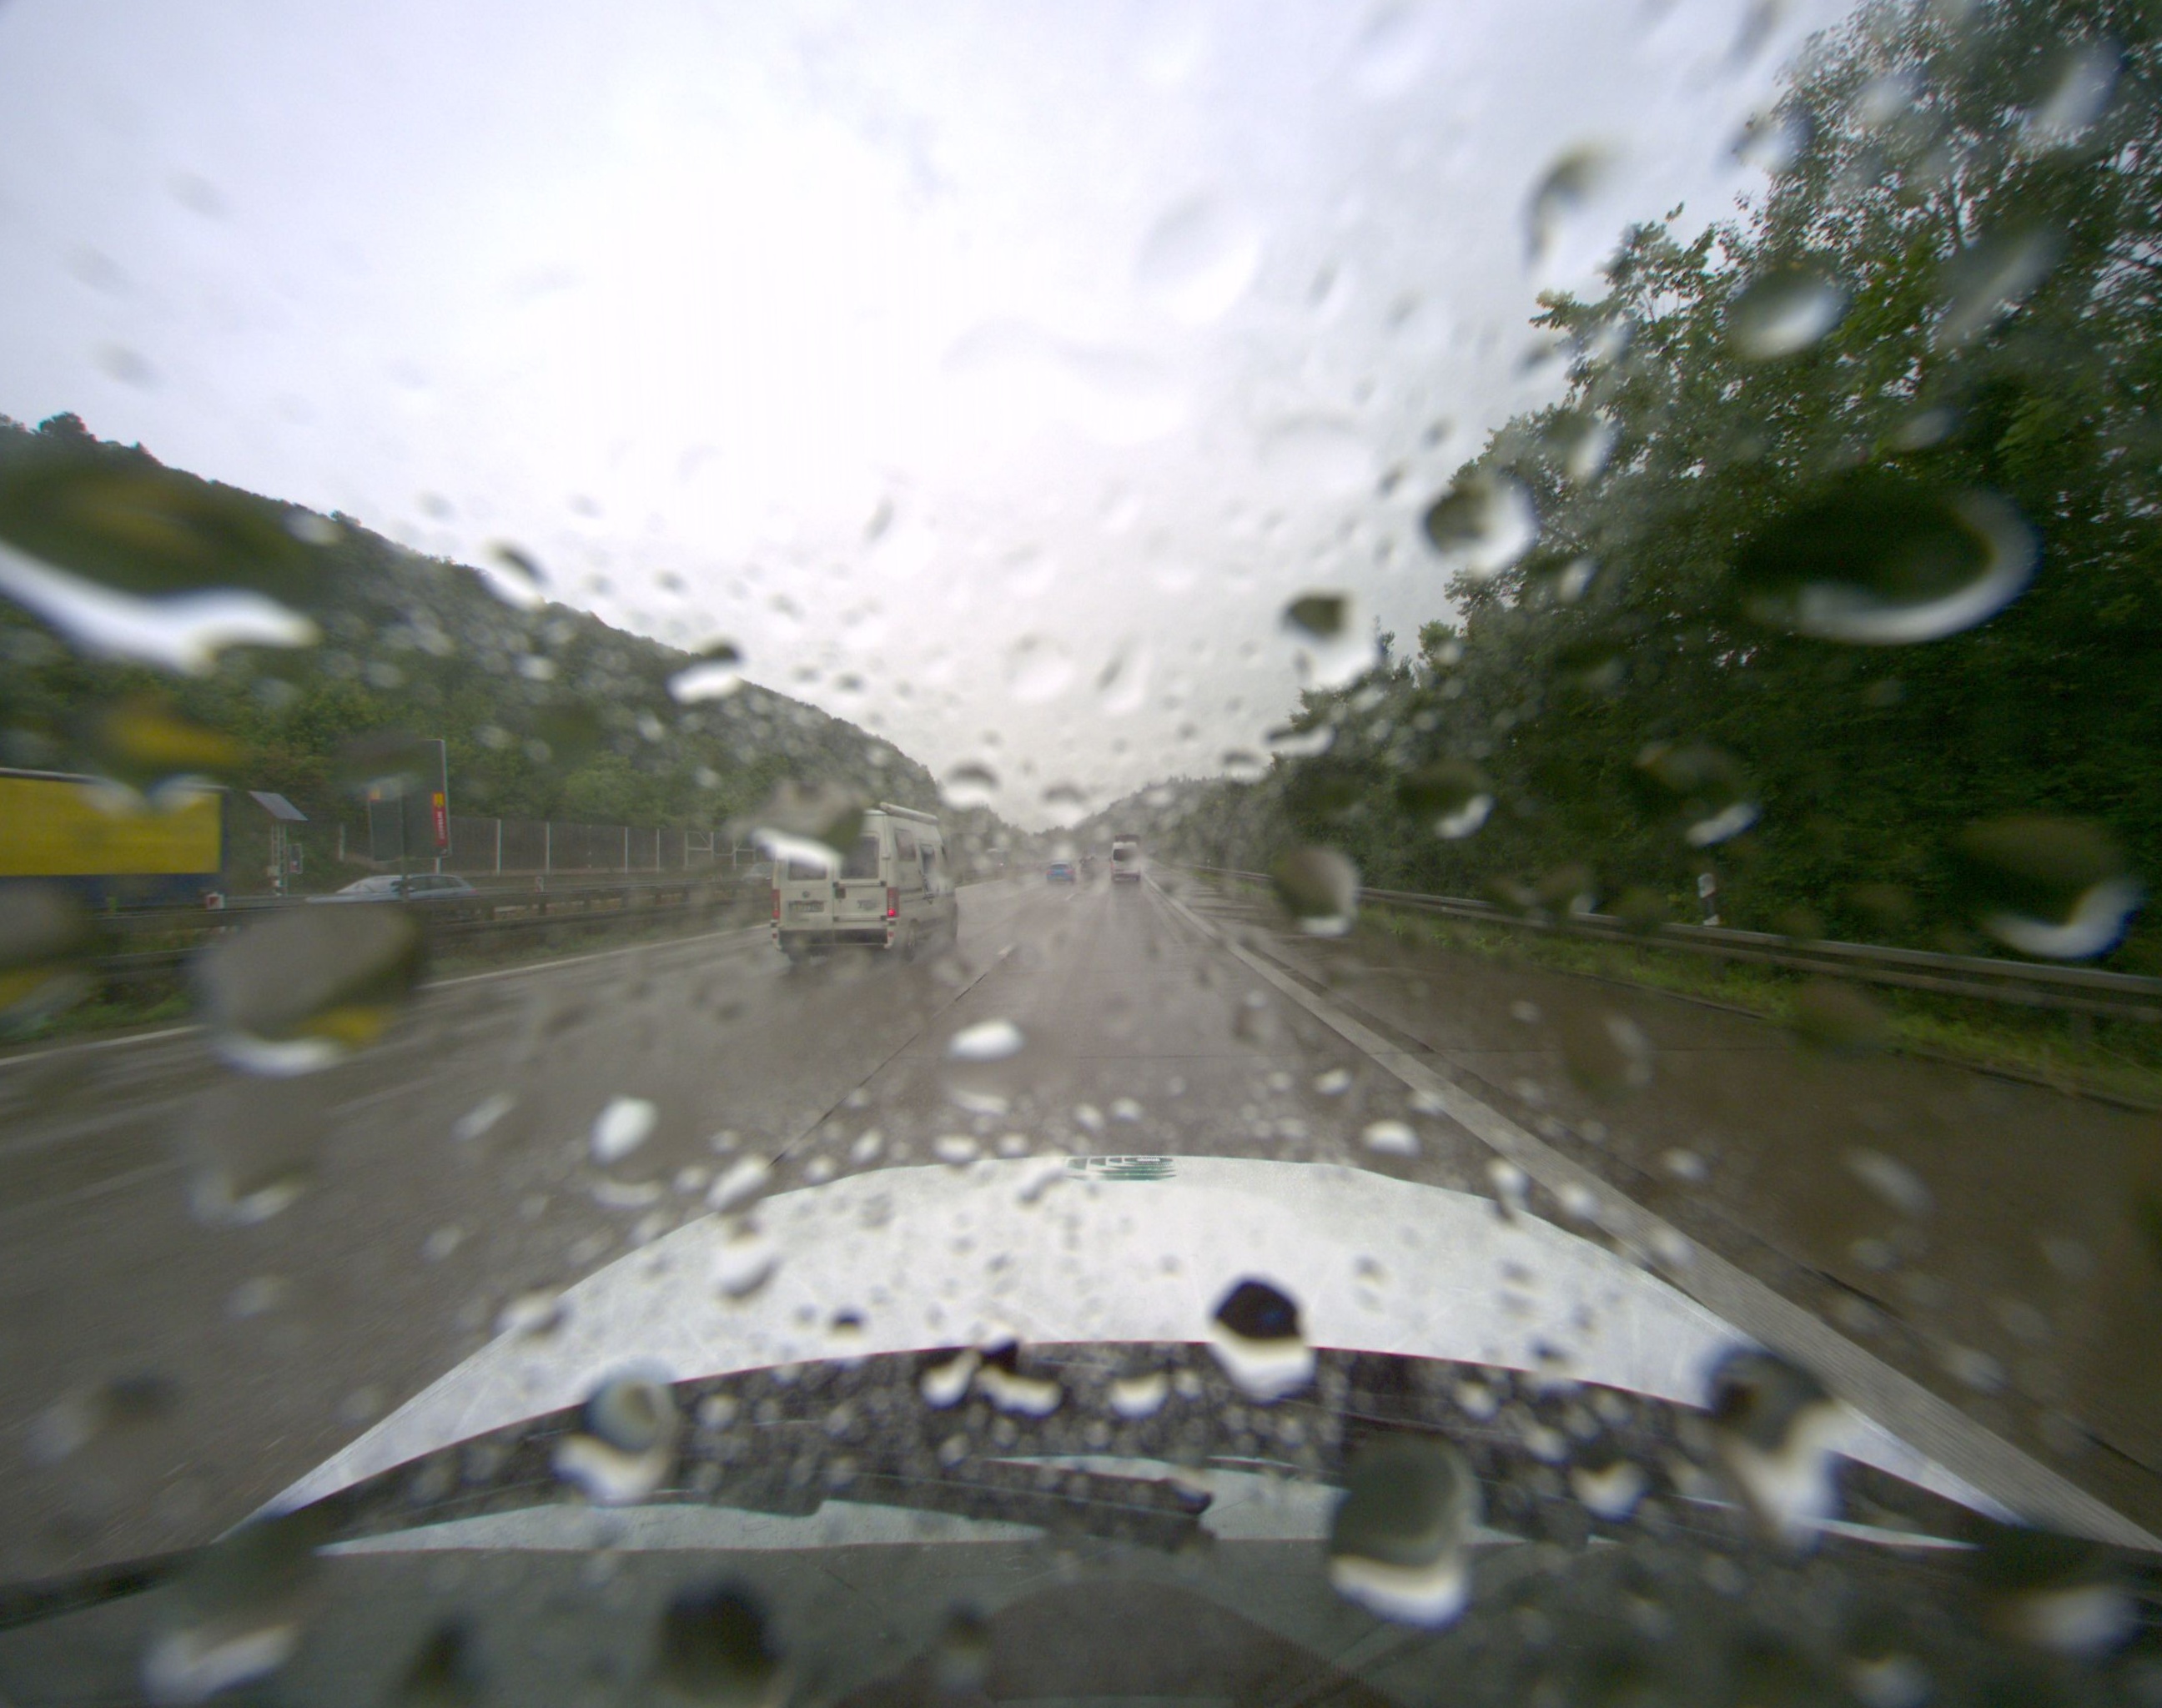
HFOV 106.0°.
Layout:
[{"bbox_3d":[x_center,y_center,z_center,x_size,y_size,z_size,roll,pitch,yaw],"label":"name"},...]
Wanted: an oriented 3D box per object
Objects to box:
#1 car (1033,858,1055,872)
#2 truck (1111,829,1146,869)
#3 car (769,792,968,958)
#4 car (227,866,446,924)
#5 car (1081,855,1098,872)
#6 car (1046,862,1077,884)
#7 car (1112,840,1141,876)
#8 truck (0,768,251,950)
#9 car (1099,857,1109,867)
[{"bbox_3d":[-3.566,1.064,79.006,1.850,1.339,4.351,0,0,1],"label":"car"},{"bbox_3d":[5.075,-0.646,86.831,3.371,3.967,8.674,-3,2,3],"label":"truck"},{"bbox_3d":[-3.534,0.312,14.898,1.990,2.432,5.792,0,0,1],"label":"car"},{"bbox_3d":[-19.901,1.040,22.101,1.745,1.339,4.428,0,0,2],"label":"car"},{"bbox_3d":[0.968,1.023,90.511,1.861,1.810,4.191,0,0,2],"label":"car"},{"bbox_3d":[-1.246,1.194,53.366,1.850,1.339,4.351,0,0,0],"label":"car"},{"bbox_3d":[3.064,0.288,55.775,1.892,2.334,5.253,0,0,2],"label":"car"},{"bbox_3d":[-23.277,0.102,16.497,2.574,3.700,9.806,0,0,3],"label":"truck"},{"bbox_3d":[3.836,1.323,134.995,1.608,1.628,4.191,0,0,2],"label":"car"}]
